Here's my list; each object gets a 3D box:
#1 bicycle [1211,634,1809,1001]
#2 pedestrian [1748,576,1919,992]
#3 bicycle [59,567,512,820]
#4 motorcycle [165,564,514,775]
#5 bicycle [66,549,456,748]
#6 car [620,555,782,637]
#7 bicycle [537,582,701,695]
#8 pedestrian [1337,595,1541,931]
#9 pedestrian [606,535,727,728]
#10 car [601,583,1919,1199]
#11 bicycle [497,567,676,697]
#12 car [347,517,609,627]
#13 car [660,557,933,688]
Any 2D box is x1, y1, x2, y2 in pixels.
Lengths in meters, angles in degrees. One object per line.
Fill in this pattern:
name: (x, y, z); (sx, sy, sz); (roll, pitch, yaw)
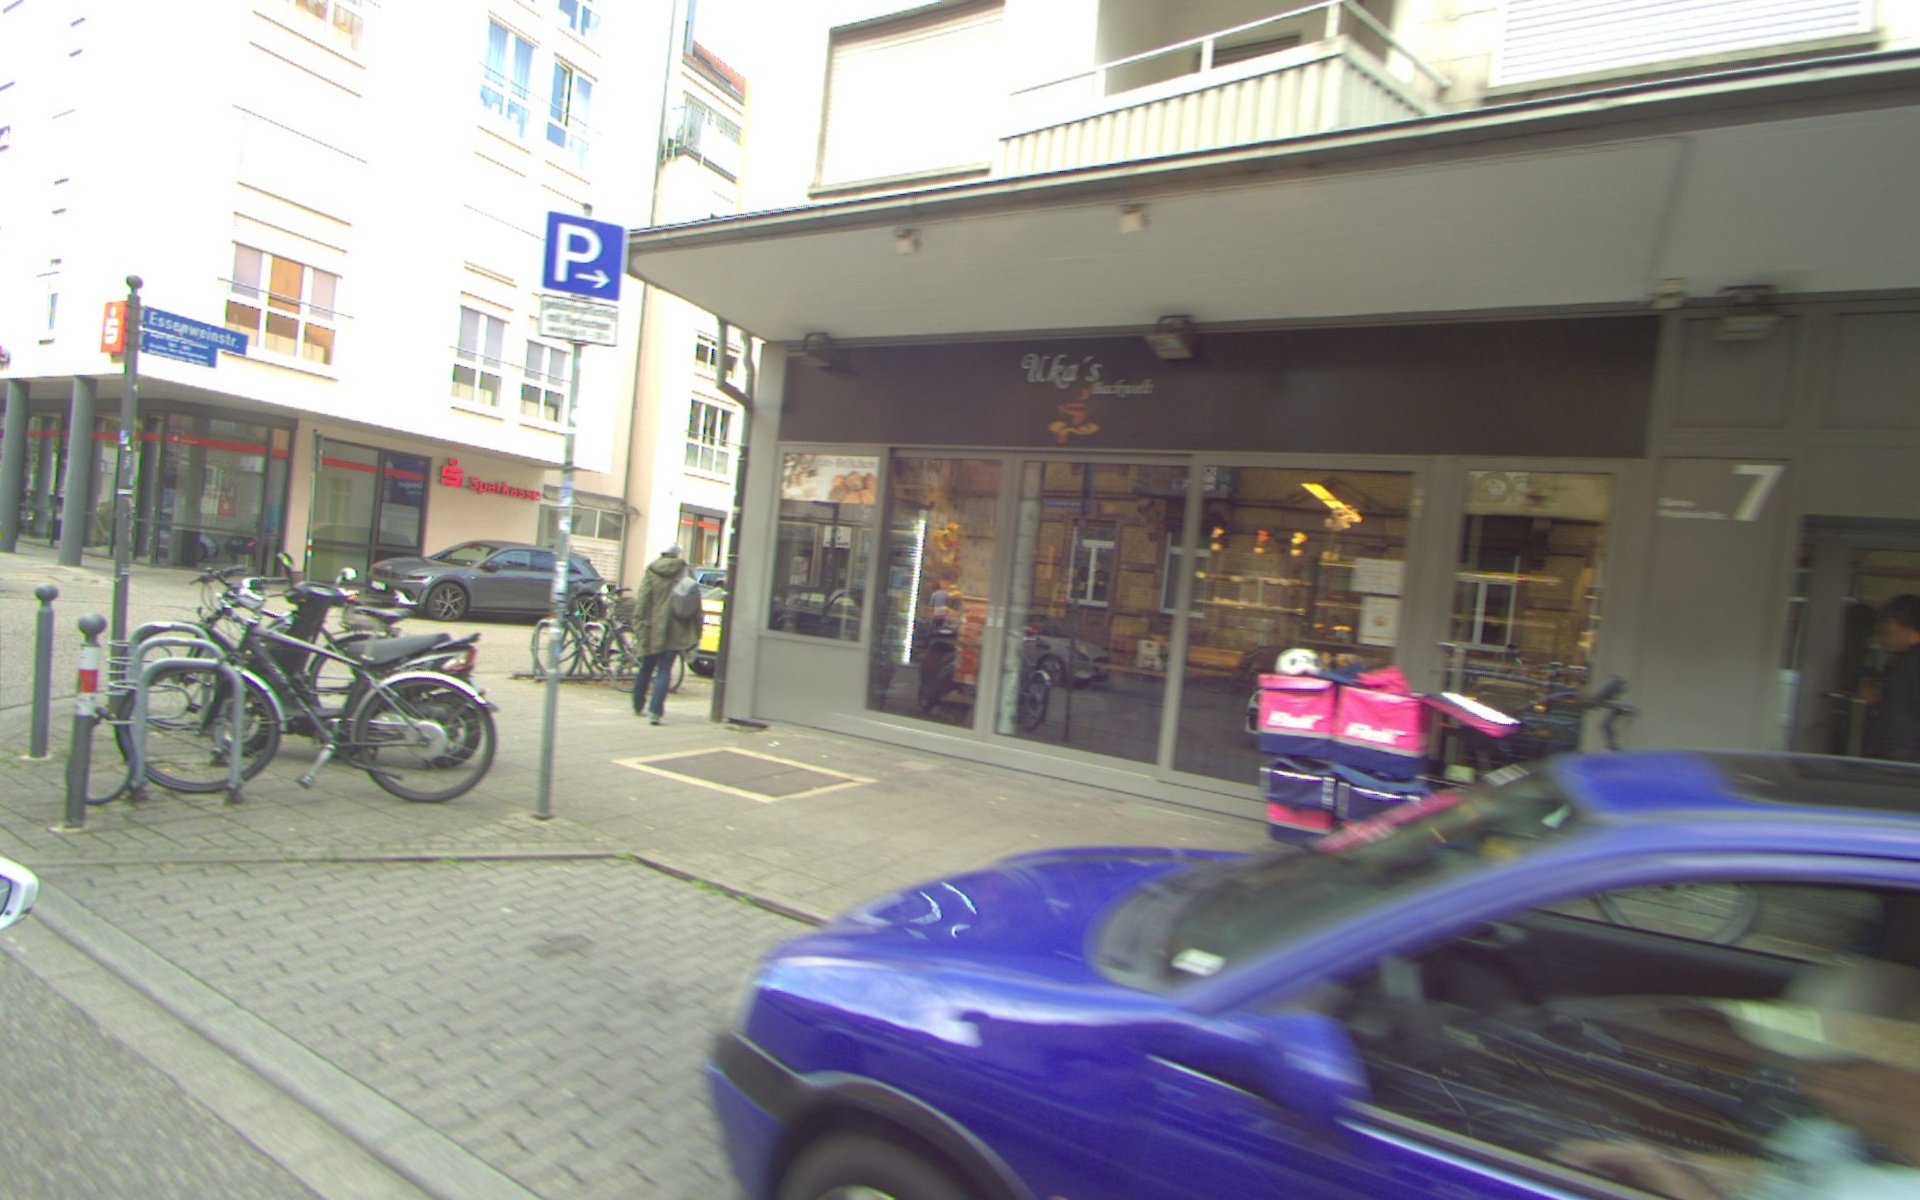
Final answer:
bicycle: (2.736, 0.973, 5.338); (2.457, 1.308, 0.919); (7, 3, 31)
pedestrian: (4.584, 0.867, 5.020); (0.702, 1.884, 0.639); (6, 1, -30)
bicycle: (-3.333, 0.475, 5.160); (1.742, 1.109, 0.681); (5, 2, -17)
motorcycle: (-3.680, 0.417, 6.111); (1.639, 1.109, 0.606); (5, 2, -17)
bicycle: (-4.506, 0.325, 6.652); (1.933, 1.109, 0.688); (5, 1, -17)
car: (-6.369, -0.056, 25.063); (1.615, 1.587, 3.606); (9, 1, 34)
bicycle: (-3.934, 0.425, 11.555); (1.892, 1.078, 0.446); (6, 1, 23)
pedestrian: (2.594, 0.821, 5.446); (0.768, 1.610, 0.643); (7, 3, 33)
pedestrian: (-2.643, 0.272, 9.029); (0.816, 1.609, 0.776); (5, 1, -24)
car: (1.380, 0.929, 1.740); (3.963, 1.458, 1.596); (7, 1, 32)
bicycle: (-4.120, 0.335, 11.059); (1.898, 1.206, 0.535); (6, 1, 22)
car: (-9.484, -0.484, 20.166); (1.778, 1.651, 4.366); (9, 1, 32)
car: (-2.209, 0.363, 14.548); (1.767, 1.519, 3.788); (6, 0, 31)
